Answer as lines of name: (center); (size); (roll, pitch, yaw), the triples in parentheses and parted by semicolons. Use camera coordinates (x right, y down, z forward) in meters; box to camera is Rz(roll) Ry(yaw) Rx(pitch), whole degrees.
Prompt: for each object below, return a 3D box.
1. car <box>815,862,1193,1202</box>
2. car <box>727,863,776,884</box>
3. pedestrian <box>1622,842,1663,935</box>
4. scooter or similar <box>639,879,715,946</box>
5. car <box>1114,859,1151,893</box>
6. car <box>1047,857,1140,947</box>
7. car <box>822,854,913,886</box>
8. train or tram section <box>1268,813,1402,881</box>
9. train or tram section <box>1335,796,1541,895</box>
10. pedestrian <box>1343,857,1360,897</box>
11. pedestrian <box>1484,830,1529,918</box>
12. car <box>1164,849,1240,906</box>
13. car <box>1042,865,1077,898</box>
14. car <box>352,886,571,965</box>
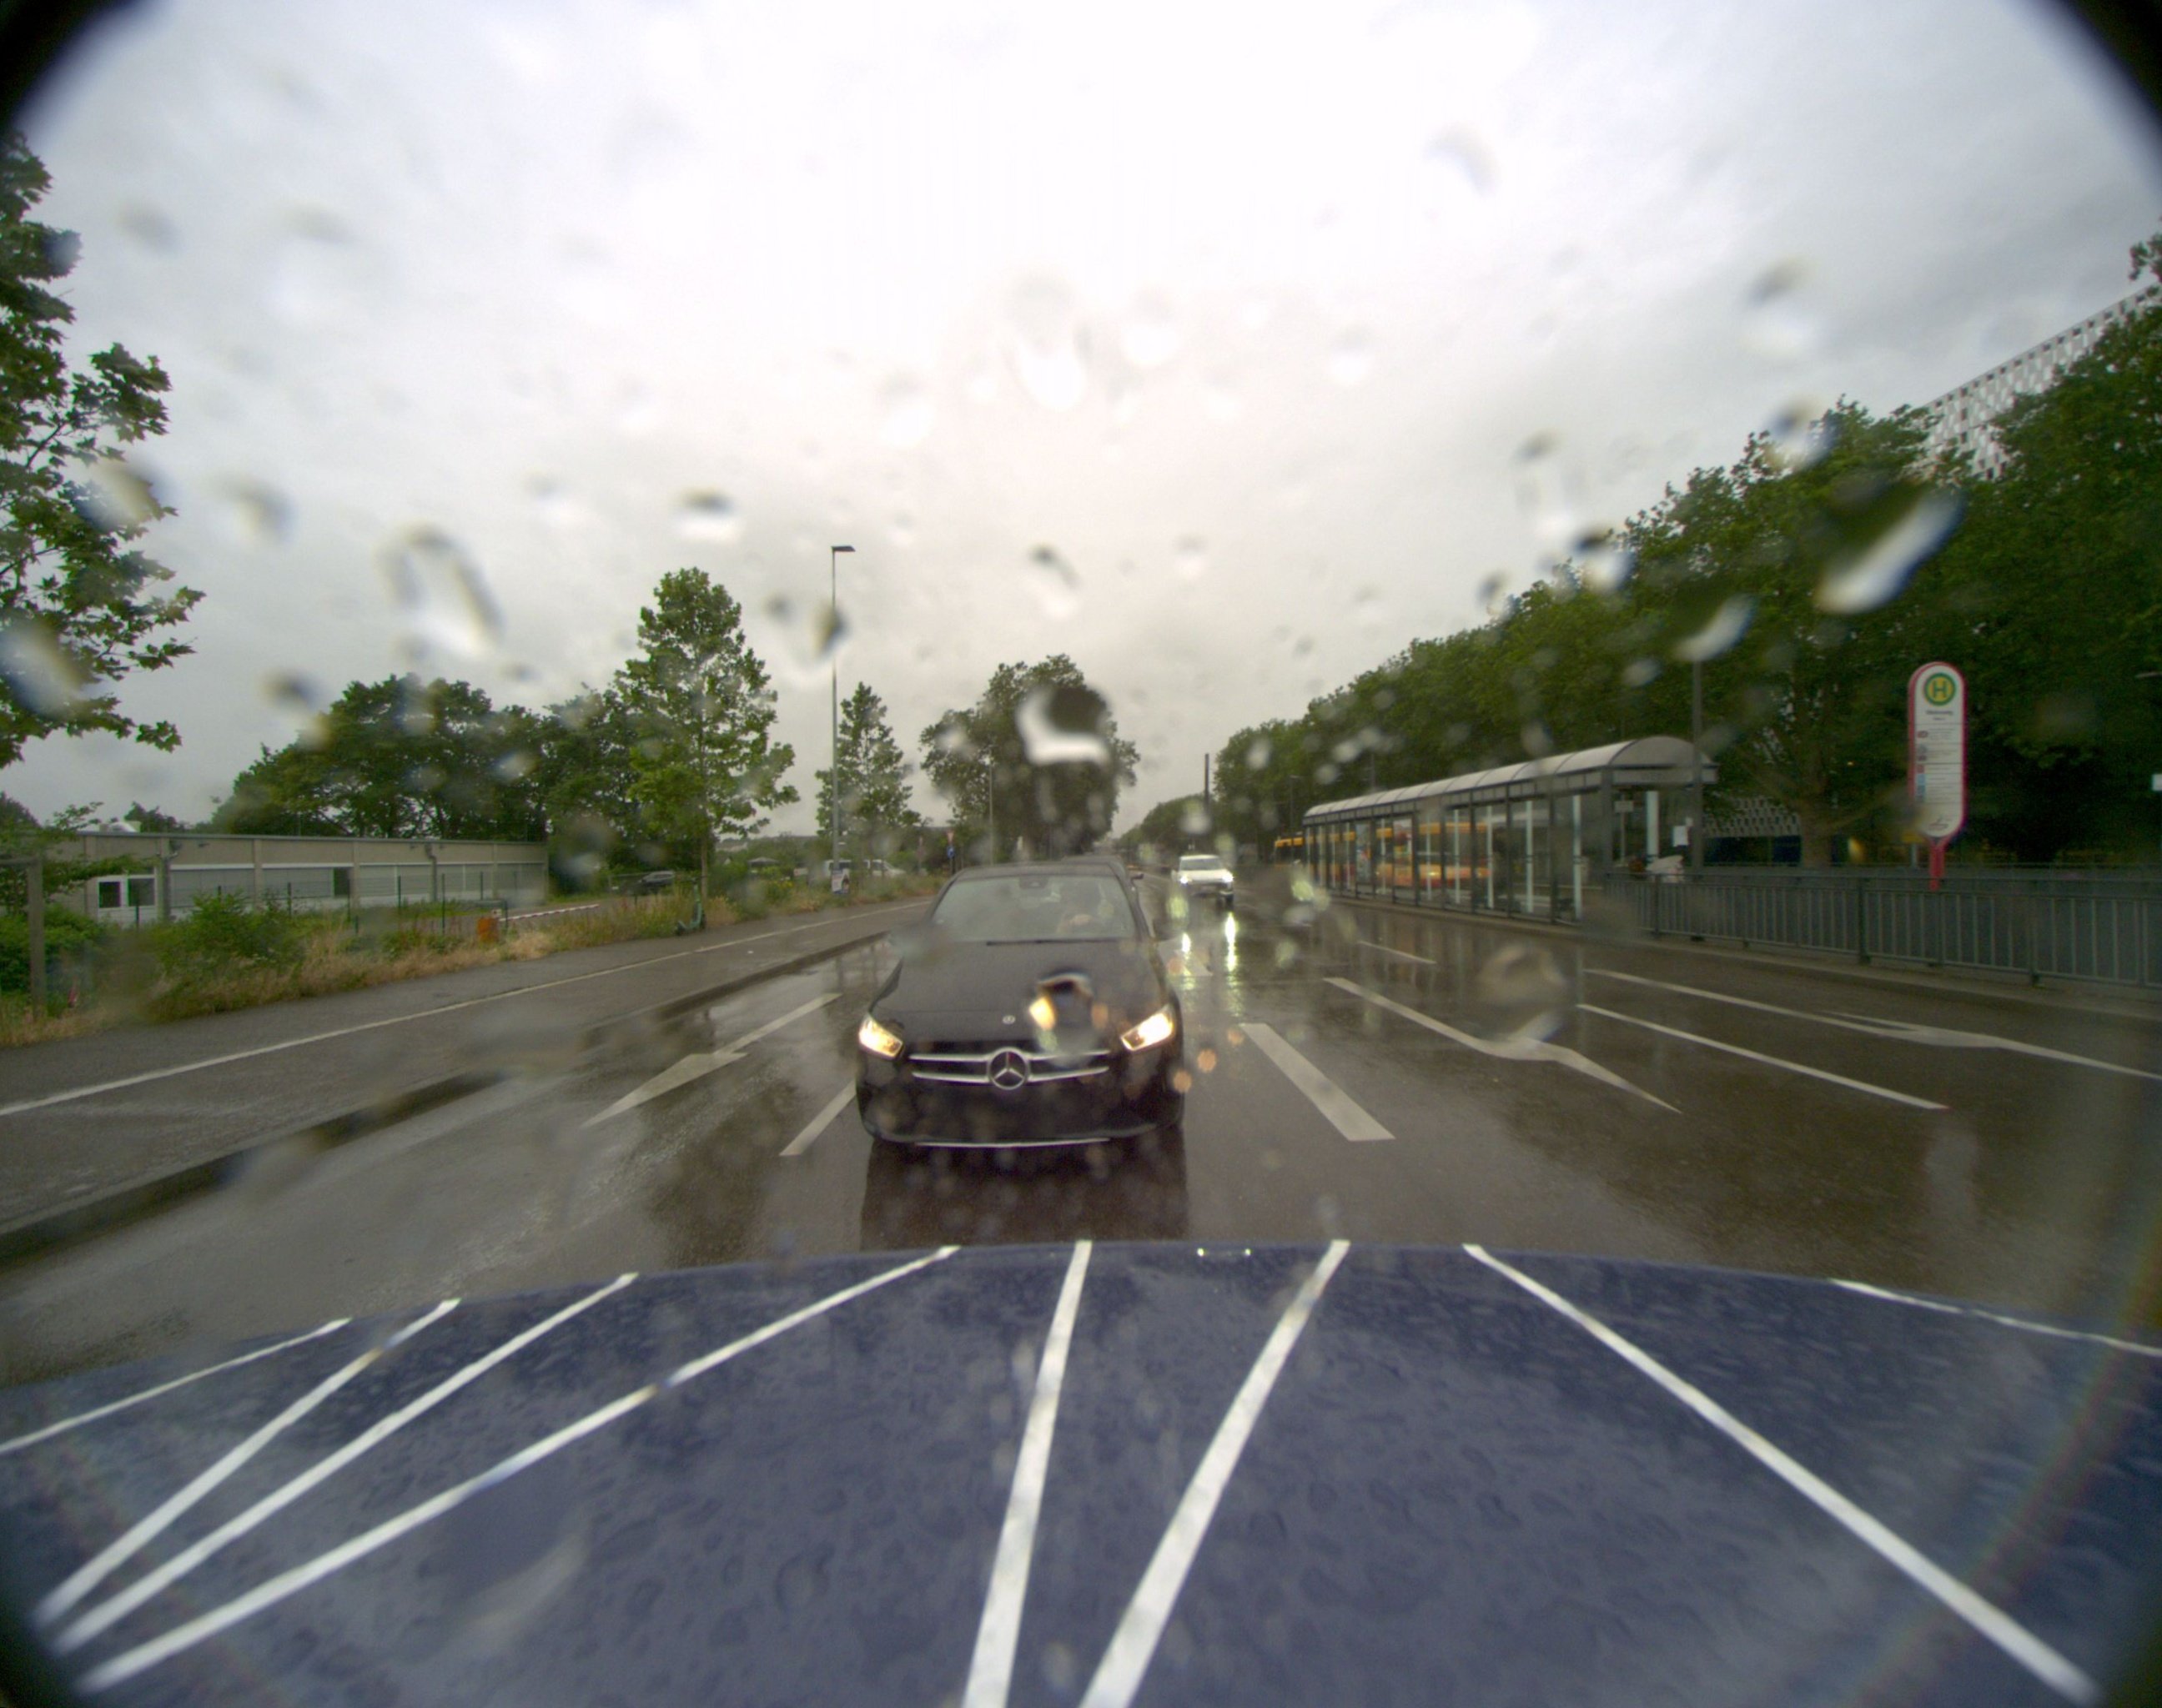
car: (-0.202, 0.879, 5.679); (1.758, 1.572, 4.171); (-2, 0, 5)
car: (-28.215, 1.648, 65.016); (3.552, 1.574, 1.345); (-3, 1, 6)
pedestrian: (9.178, 0.560, 12.424); (0.321, 1.485, 0.415); (-3, 2, 6)
scooter or similar: (-8.175, 1.149, 15.480); (0.367, 1.192, 1.913); (-2, 0, 4)
car: (2.584, 1.088, 38.762); (1.557, 1.541, 3.717); (-3, 0, 0)
car: (0.288, 0.878, 15.809); (1.689, 1.611, 4.000); (-1, 0, 2)
car: (-13.449, 1.002, 48.084); (5.174, 1.715, 2.006); (-3, 1, -1)
train or tram section: (16.651, -0.479, 51.801); (3.751, 3.777, 15.570); (-3, 0, 0)
train or tram section: (16.670, -0.381, 37.350); (3.751, 3.817, 13.253); (-3, 0, 0)
pedestrian: (8.749, 0.739, 24.551); (0.458, 1.229, 0.467); (-2, 2, 15)
pedestrian: (9.266, 0.426, 16.578); (0.655, 1.860, 0.773); (-2, 1, 17)
car: (4.210, 0.765, 27.129); (1.935, 1.765, 4.663); (-3, 0, 1)
car: (-1.053, 1.356, 38.560); (1.557, 1.500, 3.618); (-2, 0, 2)
car: (-12.012, 1.370, 14.820); (3.243, 1.281, 1.345); (-3, 1, 6)
